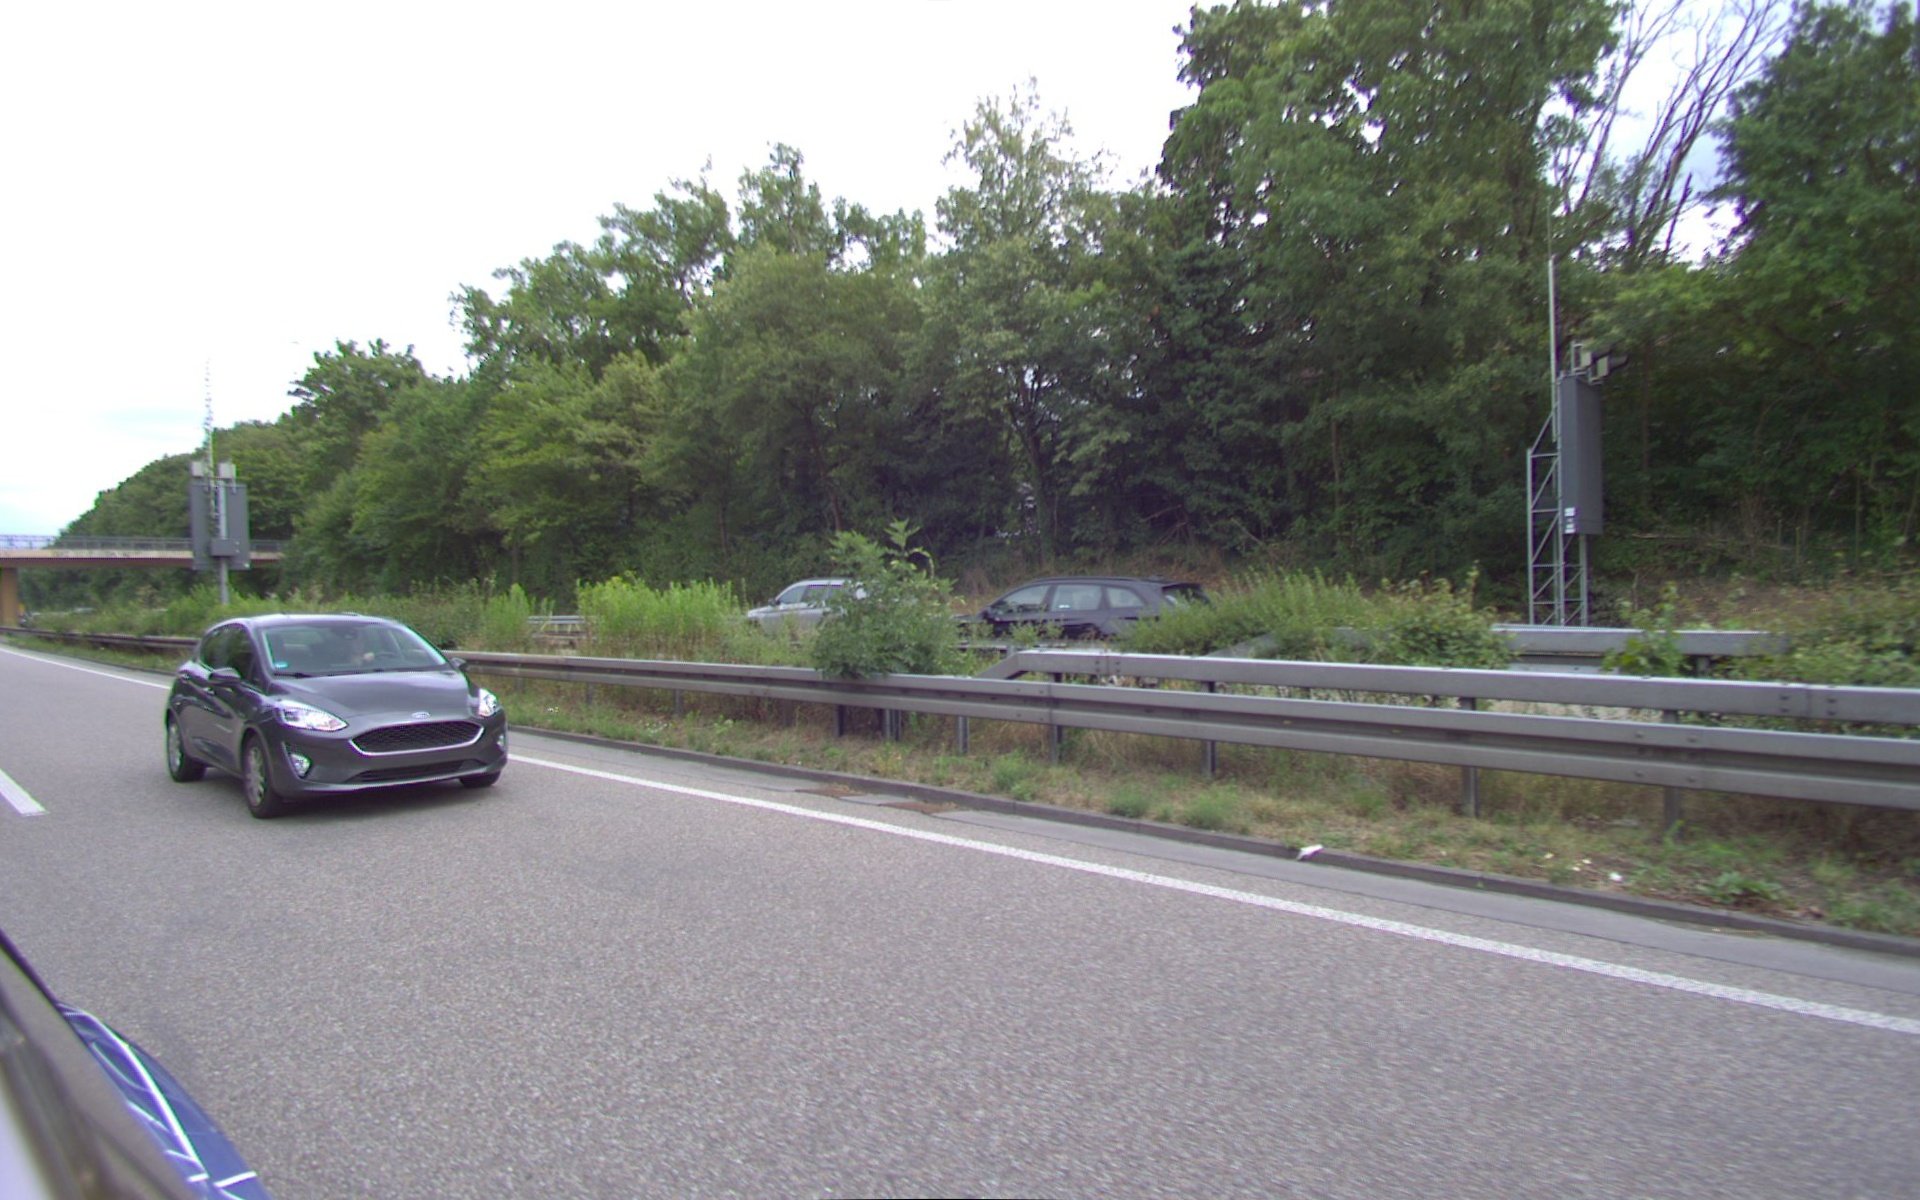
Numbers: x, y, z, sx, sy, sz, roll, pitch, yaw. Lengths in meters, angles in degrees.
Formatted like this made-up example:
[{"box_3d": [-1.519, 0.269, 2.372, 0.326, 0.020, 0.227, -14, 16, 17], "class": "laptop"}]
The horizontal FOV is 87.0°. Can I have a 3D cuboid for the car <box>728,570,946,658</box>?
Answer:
[{"box_3d": [-2.720, 0.278, 21.569, 4.771, 1.670, 1.972, 0, 0, 42], "class": "car"}]

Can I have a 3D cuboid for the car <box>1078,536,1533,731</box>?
[{"box_3d": [3.694, 0.319, 11.380, 4.539, 1.782, 1.743, 0, 0, 41], "class": "car"}]

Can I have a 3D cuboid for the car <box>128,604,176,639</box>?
[{"box_3d": [-42.272, 1.119, 52.949, 3.055, 1.760, 1.500, -1, 0, 42], "class": "car"}]

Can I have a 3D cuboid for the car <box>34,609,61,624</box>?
[{"box_3d": [-99.380, 1.782, 110.171, 4.181, 1.602, 1.783, 0, 0, 43], "class": "car"}]

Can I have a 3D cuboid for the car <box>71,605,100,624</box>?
[{"box_3d": [-94.420, 1.555, 109.275, 5.302, 2.029, 1.777, 0, 0, 43], "class": "car"}]

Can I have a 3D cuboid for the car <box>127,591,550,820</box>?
[{"box_3d": [-5.522, 0.693, 8.708, 4.637, 1.469, 1.807, 0, 0, 41], "class": "car"}]
